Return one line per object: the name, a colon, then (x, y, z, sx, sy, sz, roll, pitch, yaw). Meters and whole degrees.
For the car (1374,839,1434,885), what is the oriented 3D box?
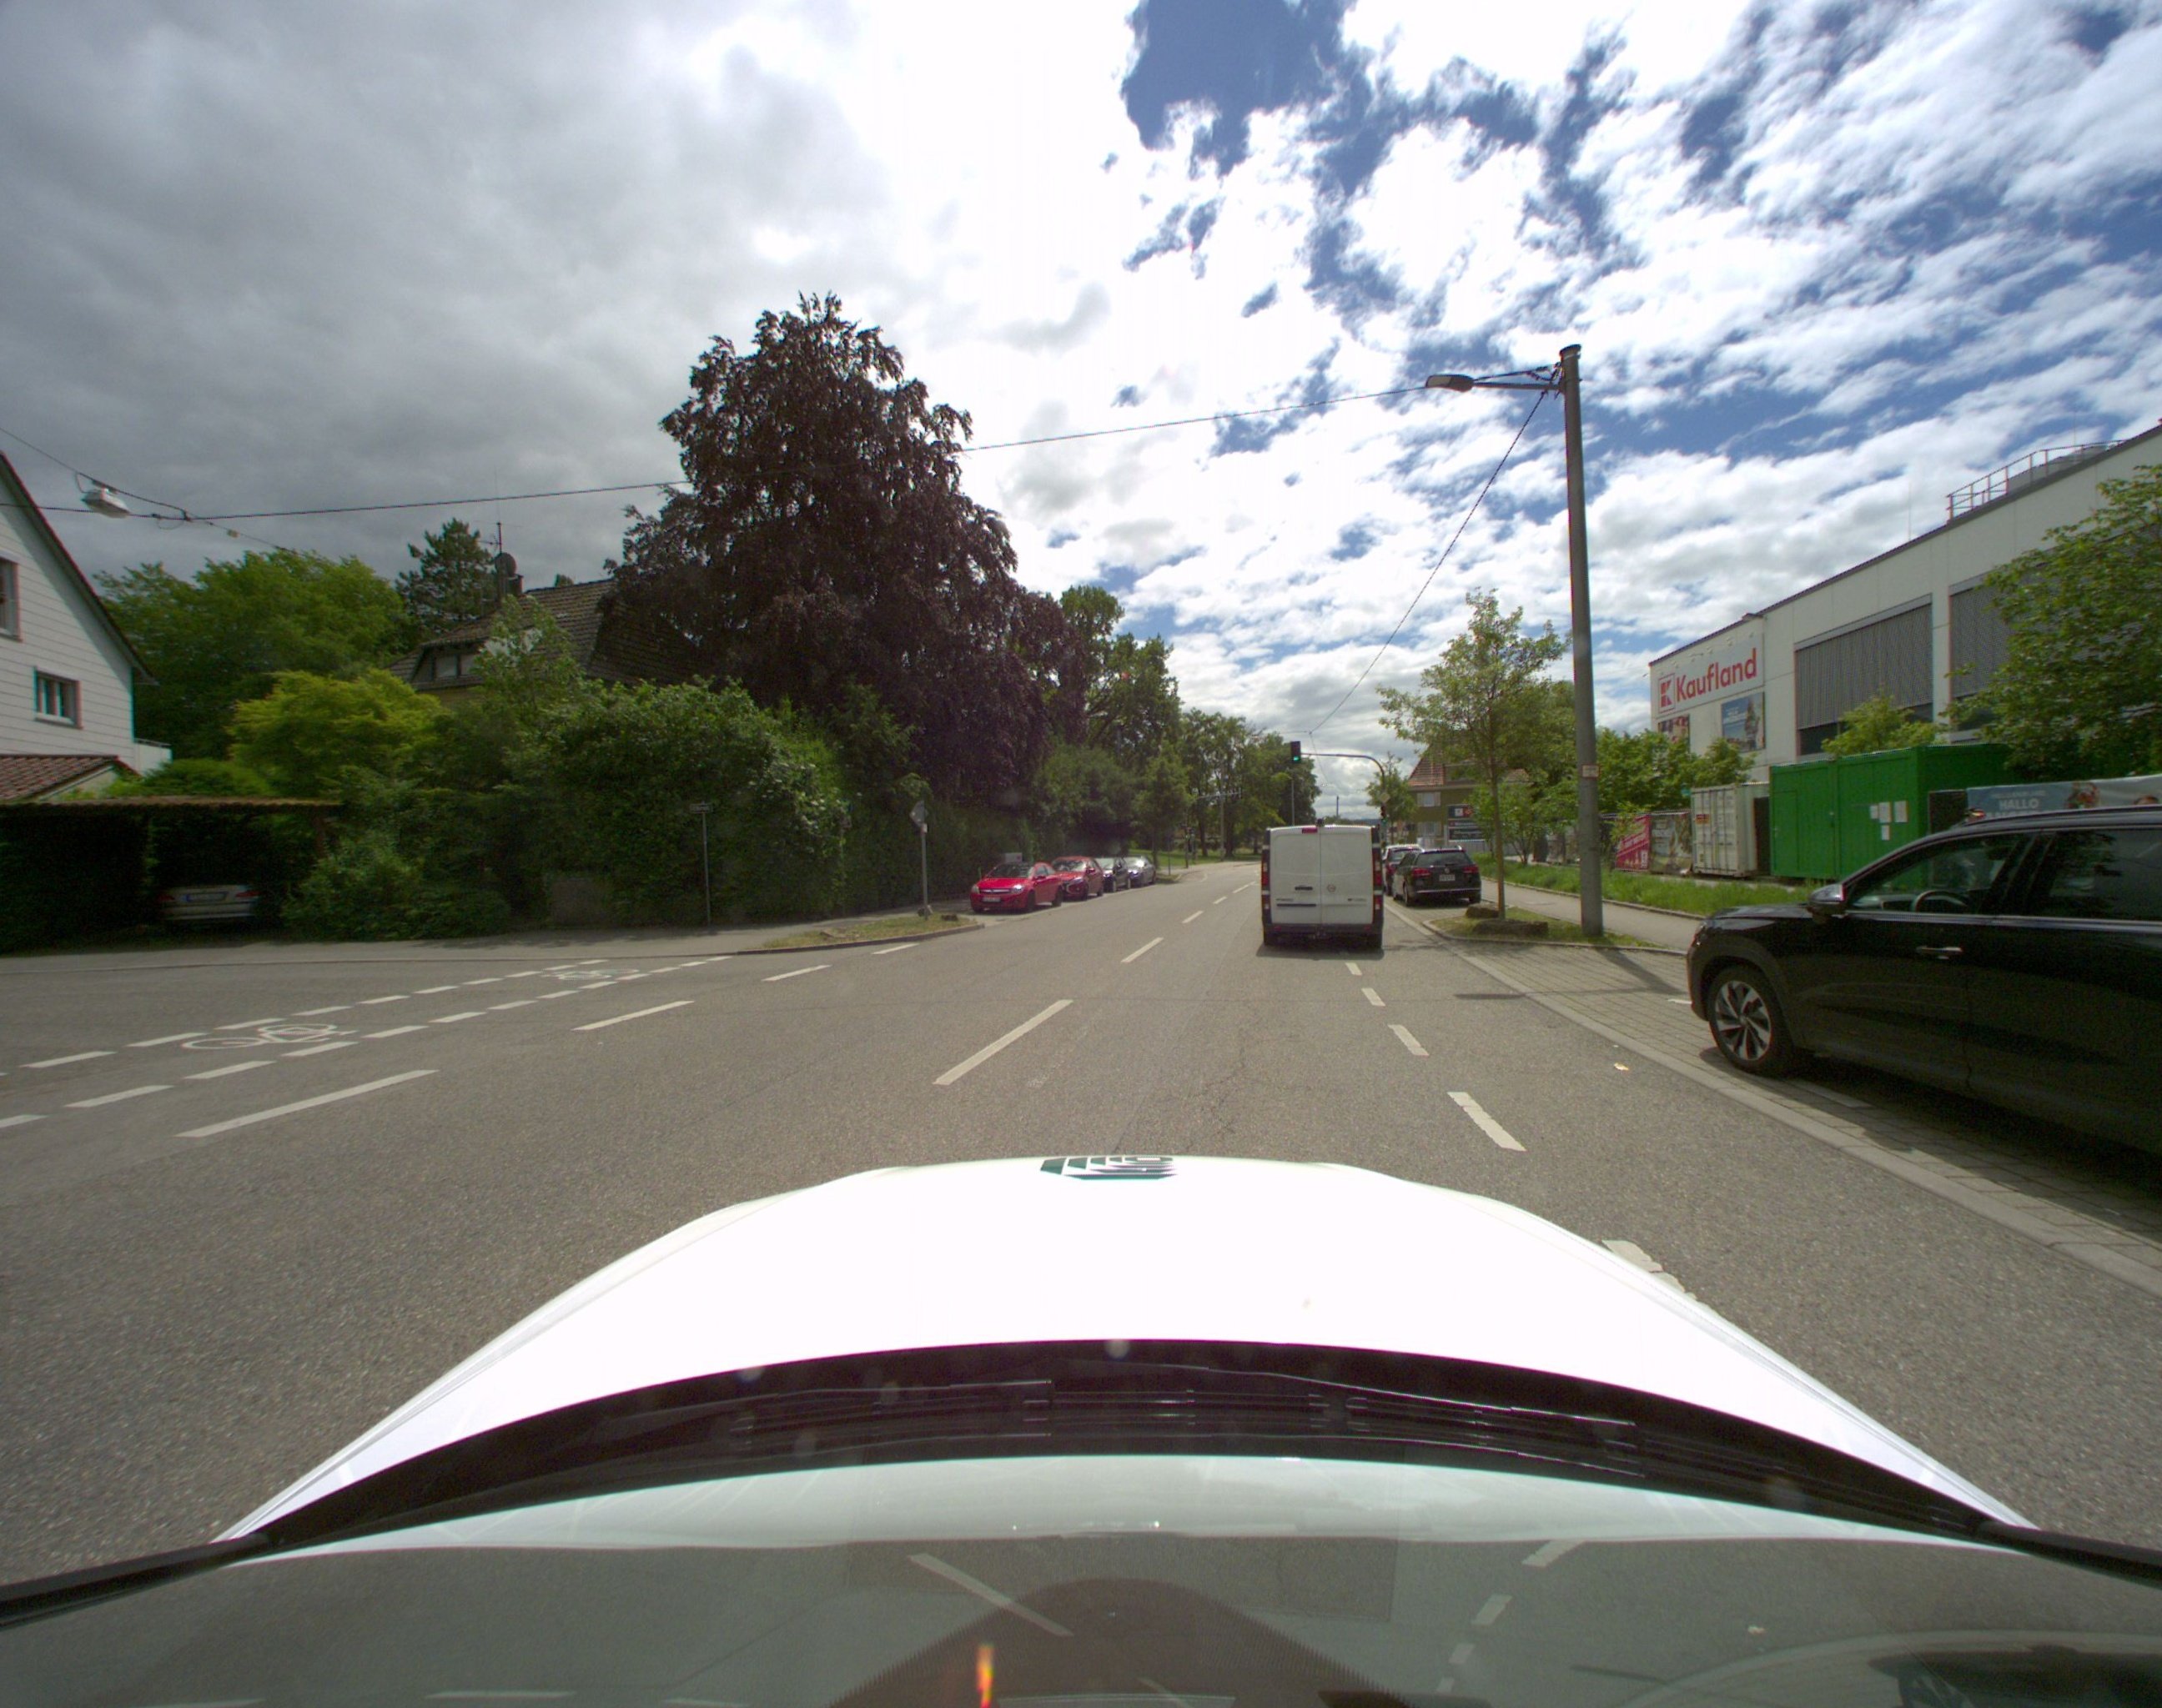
car: (12.653, 0.290, 32.126, 1.723, 1.616, 4.406, -4, -1, 17)

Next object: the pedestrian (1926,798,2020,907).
pedestrian: (14.532, -0.023, 13.293, 0.647, 1.697, 0.848, -1, 0, 14)

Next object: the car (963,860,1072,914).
car: (-1.750, 0.894, 24.117, 1.648, 1.378, 4.586, -1, 0, 17)

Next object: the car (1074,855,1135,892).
car: (1.026, 0.767, 33.953, 1.583, 1.450, 3.612, -1, 0, 17)

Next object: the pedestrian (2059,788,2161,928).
pedestrian: (13.056, 0.047, 10.232, 0.646, 1.696, 0.727, -1, 0, 13)

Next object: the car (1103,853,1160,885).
car: (2.449, 0.654, 38.044, 1.682, 1.365, 4.706, 0, 0, 16)

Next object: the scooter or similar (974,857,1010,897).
scooter or similar: (-3.244, 0.824, 29.695, 0.665, 1.412, 1.657, -1, 0, 18)

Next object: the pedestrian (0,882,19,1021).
pedestrian: (-12.042, 1.065, 8.625, 0.731, 1.508, 0.623, -1, 0, -22)

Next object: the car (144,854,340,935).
car: (-17.941, 0.770, 17.669, 1.732, 1.510, 3.965, -1, 1, -27)

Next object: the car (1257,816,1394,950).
car: (4.355, 0.421, 14.501, 1.923, 1.960, 4.855, -1, 0, 17)

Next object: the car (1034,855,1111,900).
car: (-0.220, 0.789, 29.222, 1.637, 1.450, 4.122, -1, 0, 16)

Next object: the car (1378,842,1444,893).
car: (10.769, 0.411, 26.790, 1.556, 1.493, 4.018, -3, 0, 17)

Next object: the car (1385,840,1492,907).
car: (9.443, 0.472, 21.919, 1.752, 1.477, 4.955, -5, -1, 14)

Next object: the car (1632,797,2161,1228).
car: (5.060, 0.548, 3.933, 1.869, 1.621, 4.855, -3, 0, 6)
